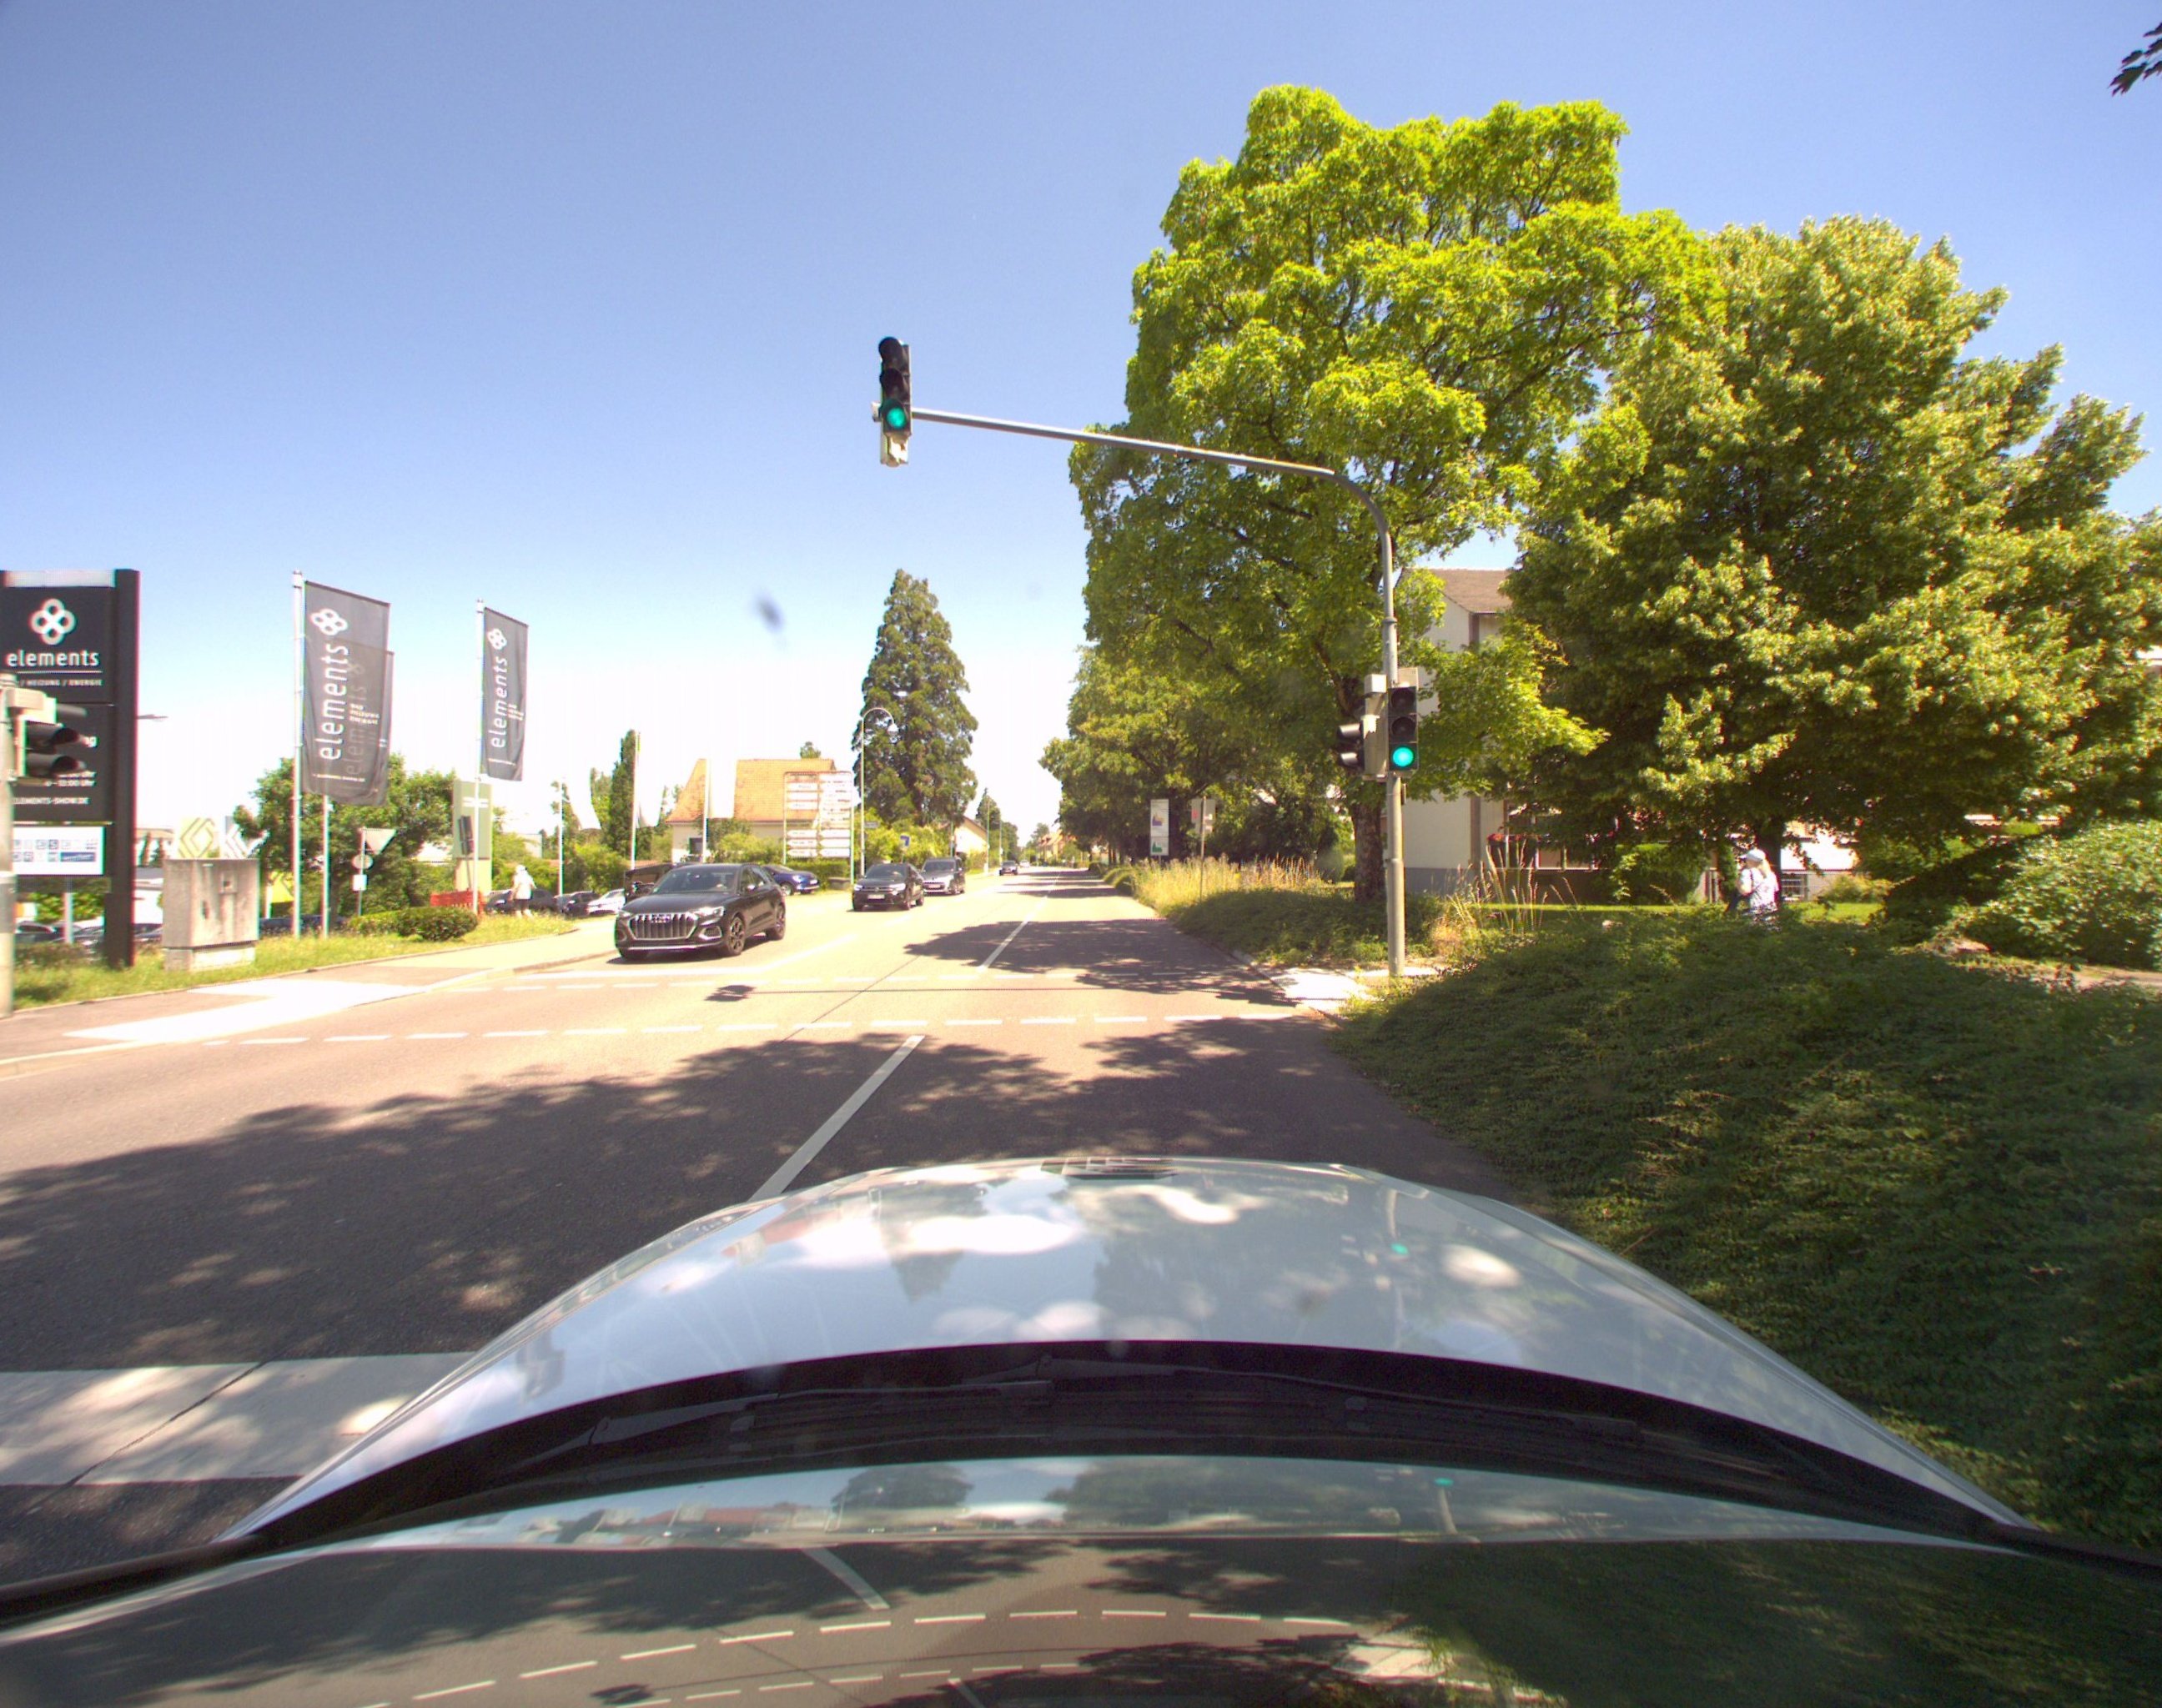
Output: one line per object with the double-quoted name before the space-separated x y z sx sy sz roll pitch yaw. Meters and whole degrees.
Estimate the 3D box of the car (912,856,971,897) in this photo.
"car" -6.428 0.997 37.960 1.804 1.762 4.571 -1 0 1

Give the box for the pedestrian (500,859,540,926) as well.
"pedestrian" -15.109 1.017 21.944 0.538 1.761 0.706 -1 -1 28

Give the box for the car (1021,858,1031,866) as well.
"car" -11.612 1.704 171.143 1.907 1.689 4.123 2 -1 -1

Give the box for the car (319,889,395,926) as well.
"car" -39.293 2.851 44.301 1.816 1.722 4.059 0 -1 -22

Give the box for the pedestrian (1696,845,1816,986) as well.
"pedestrian" 8.229 0.723 9.966 0.717 1.633 0.849 -1 -1 -7

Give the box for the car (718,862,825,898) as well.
"car" -13.888 1.174 36.634 4.109 1.504 1.782 -1 -1 10

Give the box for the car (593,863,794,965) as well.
"car" -6.870 0.969 15.019 1.923 1.555 4.295 -1 0 -5

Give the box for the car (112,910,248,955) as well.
"car" -37.075 3.182 33.670 1.754 1.486 3.983 -1 -1 -12

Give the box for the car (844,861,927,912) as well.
"car" -6.337 1.012 26.838 1.864 1.507 4.049 -1 0 -2

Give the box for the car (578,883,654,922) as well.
"car" -23.392 2.384 41.138 1.806 1.722 4.081 0 0 -6

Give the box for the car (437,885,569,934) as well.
"car" -23.313 2.176 33.049 1.795 1.722 4.106 0 0 16

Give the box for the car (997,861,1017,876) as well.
"car" -7.886 1.583 87.283 1.788 1.536 4.313 -1 -1 -1

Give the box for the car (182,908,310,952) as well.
"car" -34.455 3.097 33.758 1.647 1.415 3.856 -1 -1 -8
